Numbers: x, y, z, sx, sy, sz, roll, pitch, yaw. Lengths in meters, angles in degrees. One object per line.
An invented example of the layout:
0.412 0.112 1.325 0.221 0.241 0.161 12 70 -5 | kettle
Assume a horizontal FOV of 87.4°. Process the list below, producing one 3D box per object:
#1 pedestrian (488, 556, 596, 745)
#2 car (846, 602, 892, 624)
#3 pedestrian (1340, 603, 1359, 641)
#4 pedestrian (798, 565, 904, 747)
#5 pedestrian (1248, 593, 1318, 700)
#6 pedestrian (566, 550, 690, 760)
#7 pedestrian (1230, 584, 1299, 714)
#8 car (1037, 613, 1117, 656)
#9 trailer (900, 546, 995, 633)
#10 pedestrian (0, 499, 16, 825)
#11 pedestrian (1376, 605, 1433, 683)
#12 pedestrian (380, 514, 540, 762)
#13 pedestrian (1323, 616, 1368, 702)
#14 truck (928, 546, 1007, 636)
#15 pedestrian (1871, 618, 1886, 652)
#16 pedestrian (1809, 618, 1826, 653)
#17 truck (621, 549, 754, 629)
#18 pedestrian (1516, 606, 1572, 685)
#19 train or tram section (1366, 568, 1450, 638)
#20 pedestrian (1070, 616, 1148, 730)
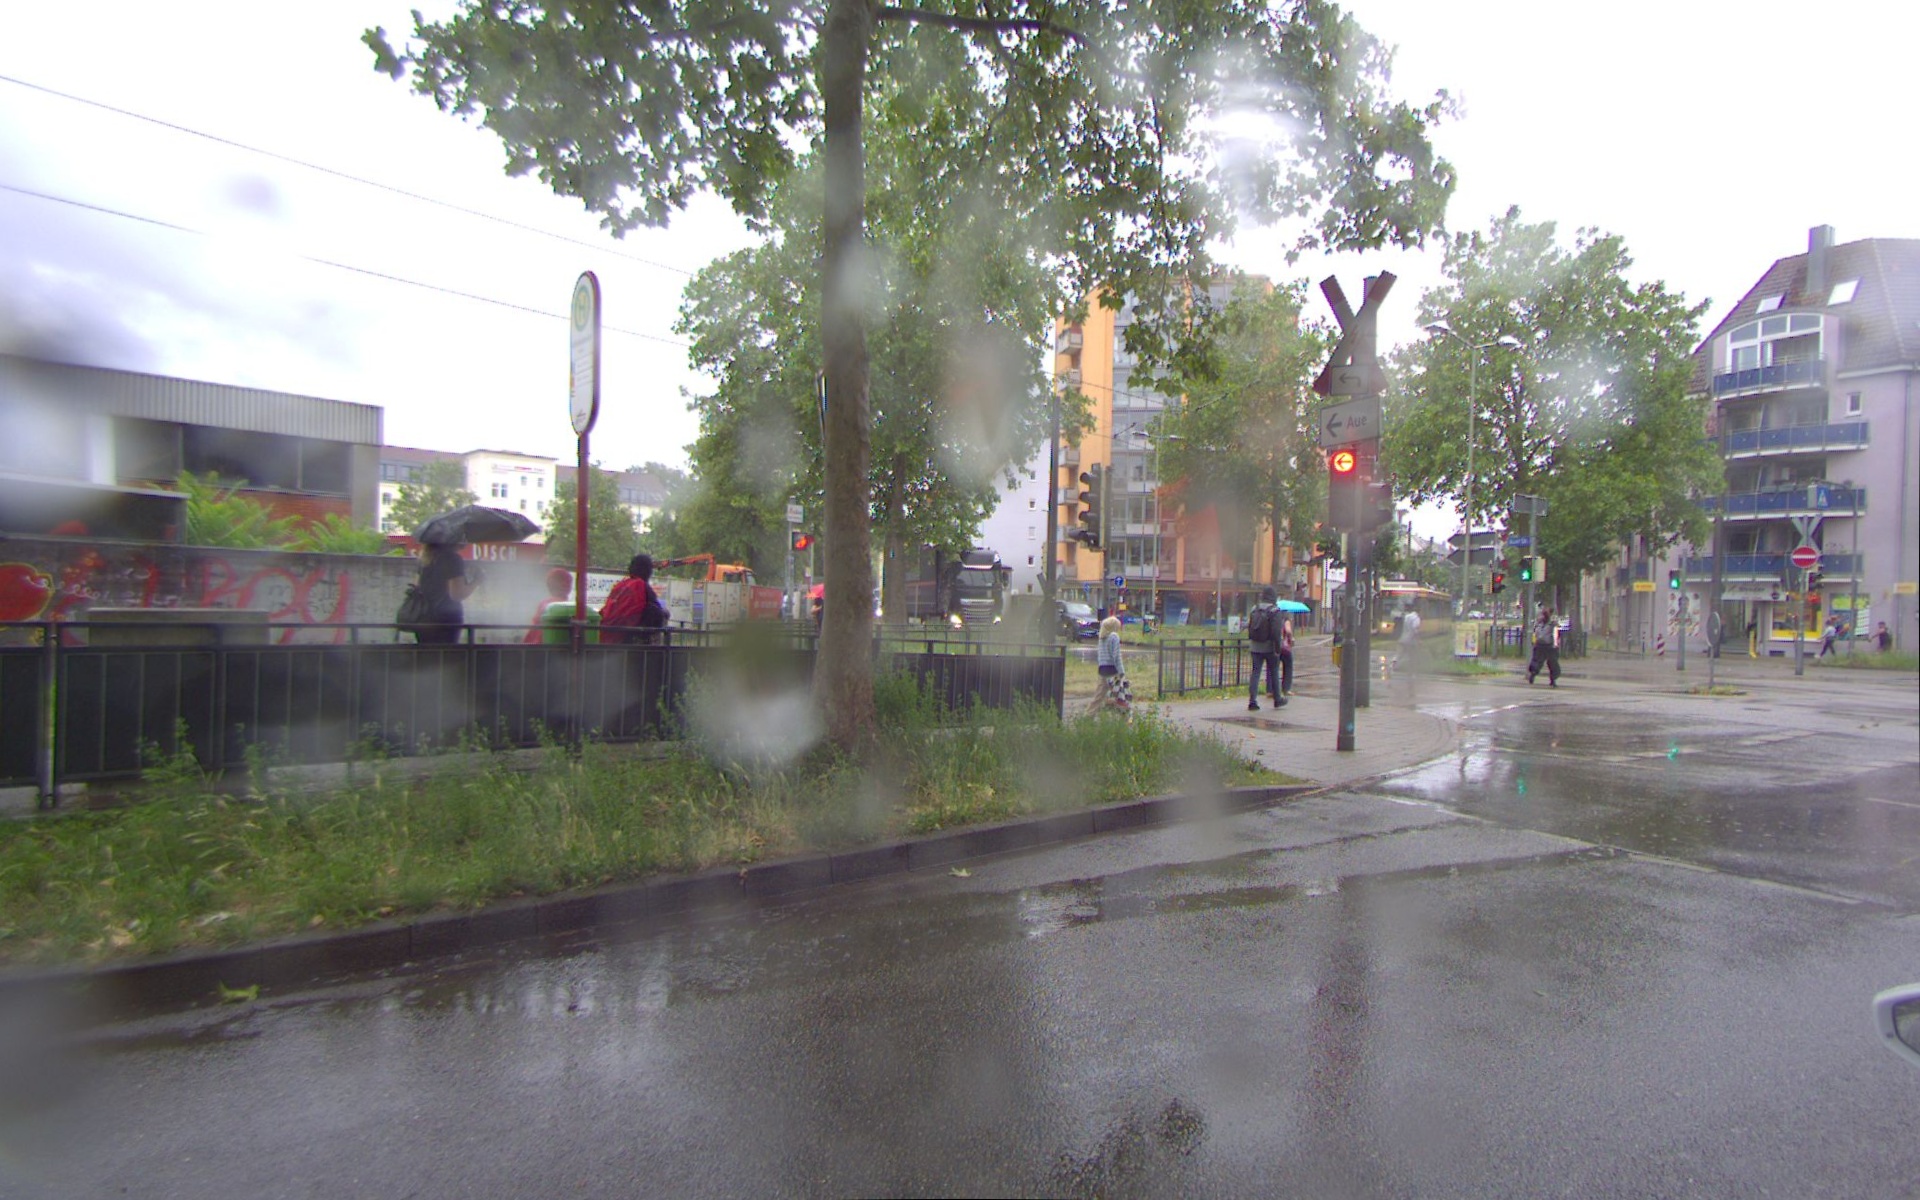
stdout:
-3.594 0.412 8.633 0.654 1.540 0.675 1 0 -42 | pedestrian
-8.265 1.163 90.930 3.930 1.808 1.996 2 0 -12 | car
22.969 1.294 59.159 0.871 2.179 0.910 2 0 29 | pedestrian
-1.068 0.538 9.942 0.823 1.722 0.689 -1 0 17 | pedestrian
5.672 0.789 17.607 0.943 1.789 0.951 2 0 31 | pedestrian
-2.781 0.431 8.407 0.809 1.646 0.724 0 0 -37 | pedestrian
4.588 0.713 15.151 0.777 1.880 0.679 2 1 37 | pedestrian
4.645 1.354 40.425 1.585 1.551 4.017 1 1 -19 | car
-0.829 -0.470 50.743 2.593 3.899 10.114 2 0 -13 | trailer
-6.138 0.345 5.854 0.885 1.889 0.861 1 1 -42 | pedestrian
9.465 0.913 21.403 0.956 1.622 0.670 0 1 -30 | pedestrian
-3.654 0.274 7.365 0.783 1.705 0.659 -2 0 23 | pedestrian
6.616 0.989 17.215 0.638 1.414 0.782 1 0 26 | pedestrian
0.264 -0.394 46.053 2.593 3.842 4.444 2 0 -13 | truck
37.953 1.446 41.500 0.439 1.347 0.558 2 0 43 | pedestrian
36.810 1.504 43.135 0.557 1.477 0.440 2 0 -39 | pedestrian
-11.778 -0.443 43.597 5.383 3.205 2.164 2 0 -16 | truck
11.927 0.919 20.523 0.785 1.553 0.743 2 0 -41 | pedestrian
28.422 0.293 63.084 2.839 3.818 17.211 2 0 30 | train or tram section
1.872 0.891 12.629 0.704 1.367 0.650 1 1 -44 | pedestrian
